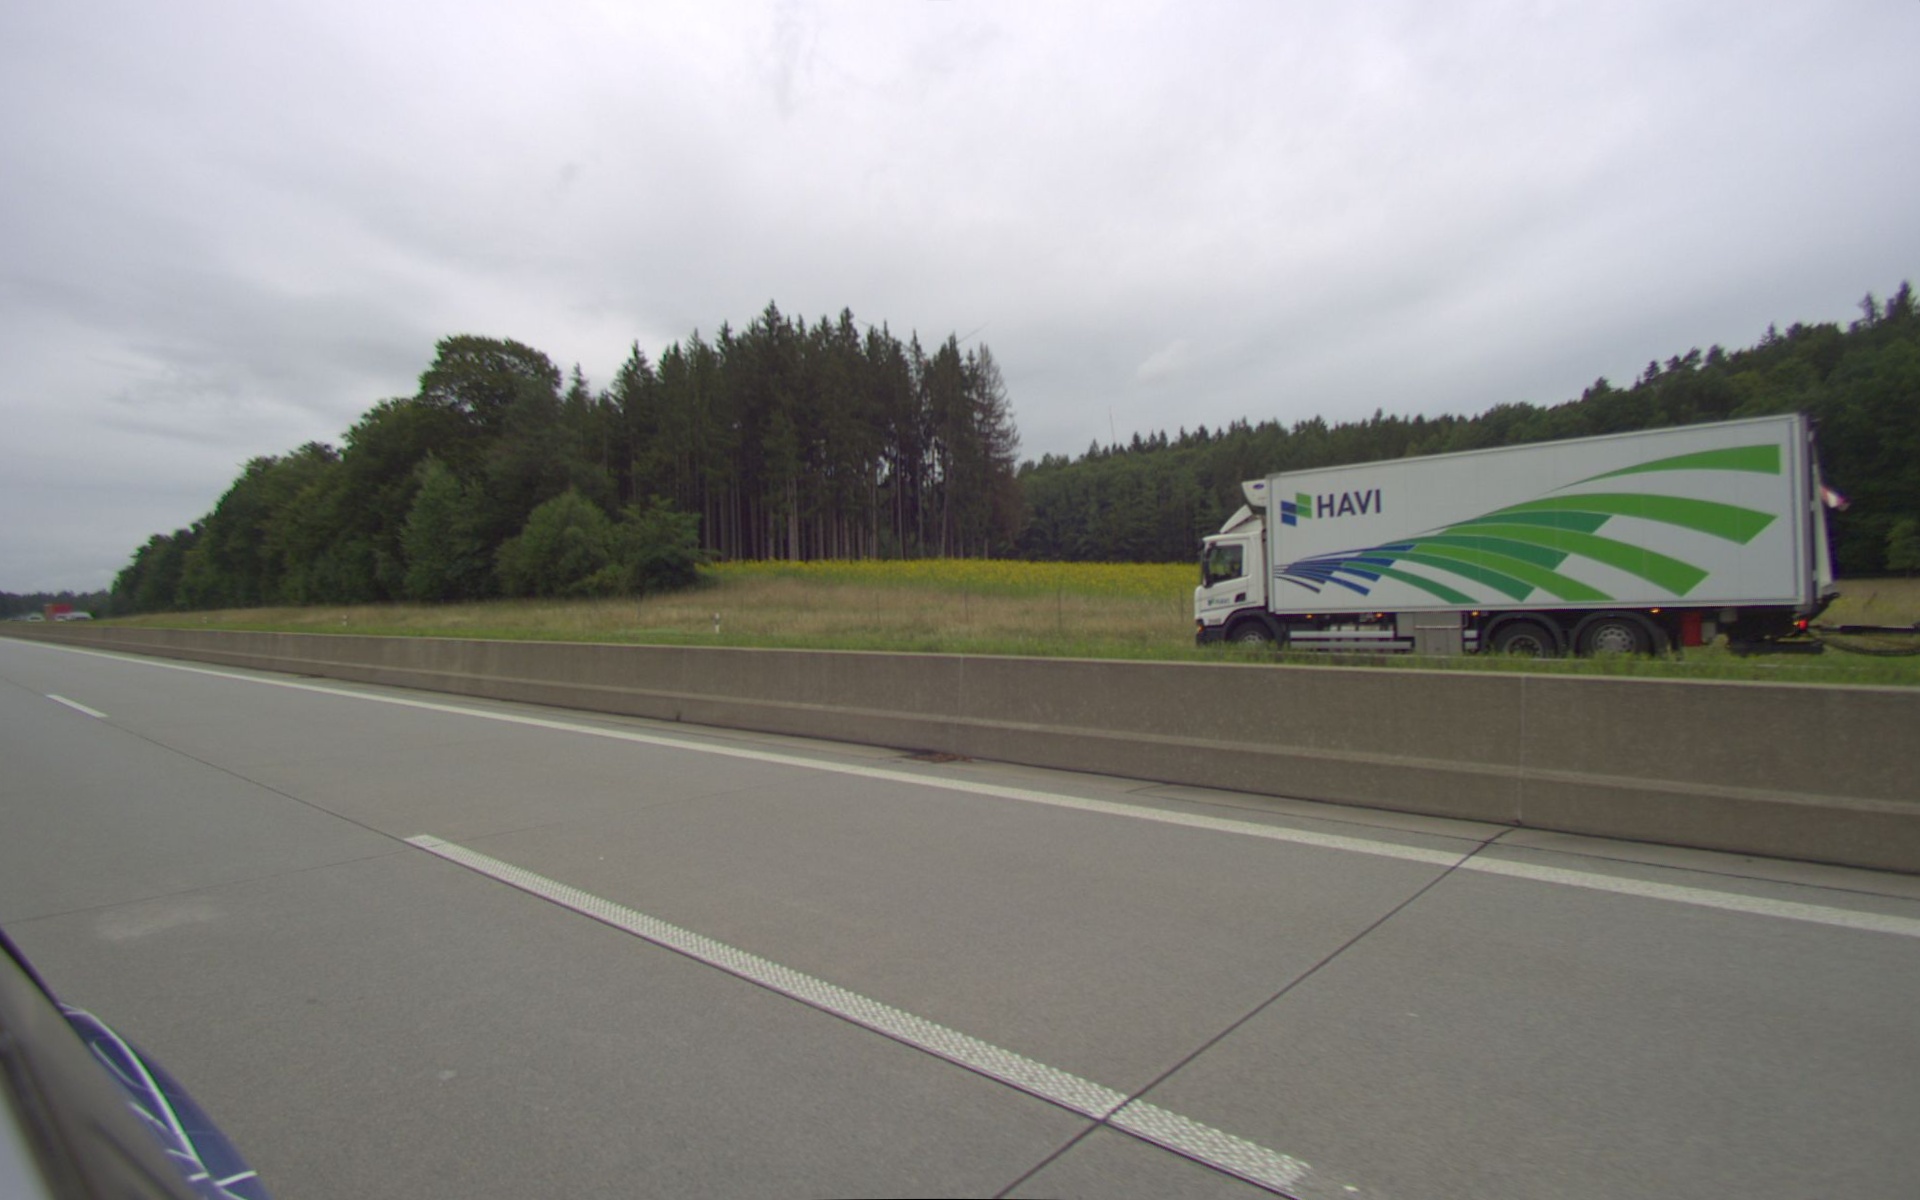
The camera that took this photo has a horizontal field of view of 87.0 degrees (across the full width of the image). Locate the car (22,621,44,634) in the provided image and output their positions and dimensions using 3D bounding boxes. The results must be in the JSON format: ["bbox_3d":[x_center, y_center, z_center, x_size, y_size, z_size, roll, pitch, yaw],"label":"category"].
[{"bbox_3d":[-145.954,4.332,159.317,5.624,1.970,1.973,-2,-1,41],"label":"car"}]

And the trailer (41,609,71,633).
[{"bbox_3d":[-157.500,3.780,176.243,14.380,3.974,2.579,-2,-1,43],"label":"trailer"}]

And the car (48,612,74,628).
[{"bbox_3d":[-110.541,2.435,124.425,4.390,1.814,1.972,-1,0,42],"label":"car"}]

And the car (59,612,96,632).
[{"bbox_3d":[-74.453,1.829,85.387,3.998,1.600,1.865,-1,0,42],"label":"car"}]

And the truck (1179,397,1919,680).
[{"bbox_3d":[9.727,-0.749,18.386,11.349,3.801,2.783,-1,0,43],"label":"truck"}]
